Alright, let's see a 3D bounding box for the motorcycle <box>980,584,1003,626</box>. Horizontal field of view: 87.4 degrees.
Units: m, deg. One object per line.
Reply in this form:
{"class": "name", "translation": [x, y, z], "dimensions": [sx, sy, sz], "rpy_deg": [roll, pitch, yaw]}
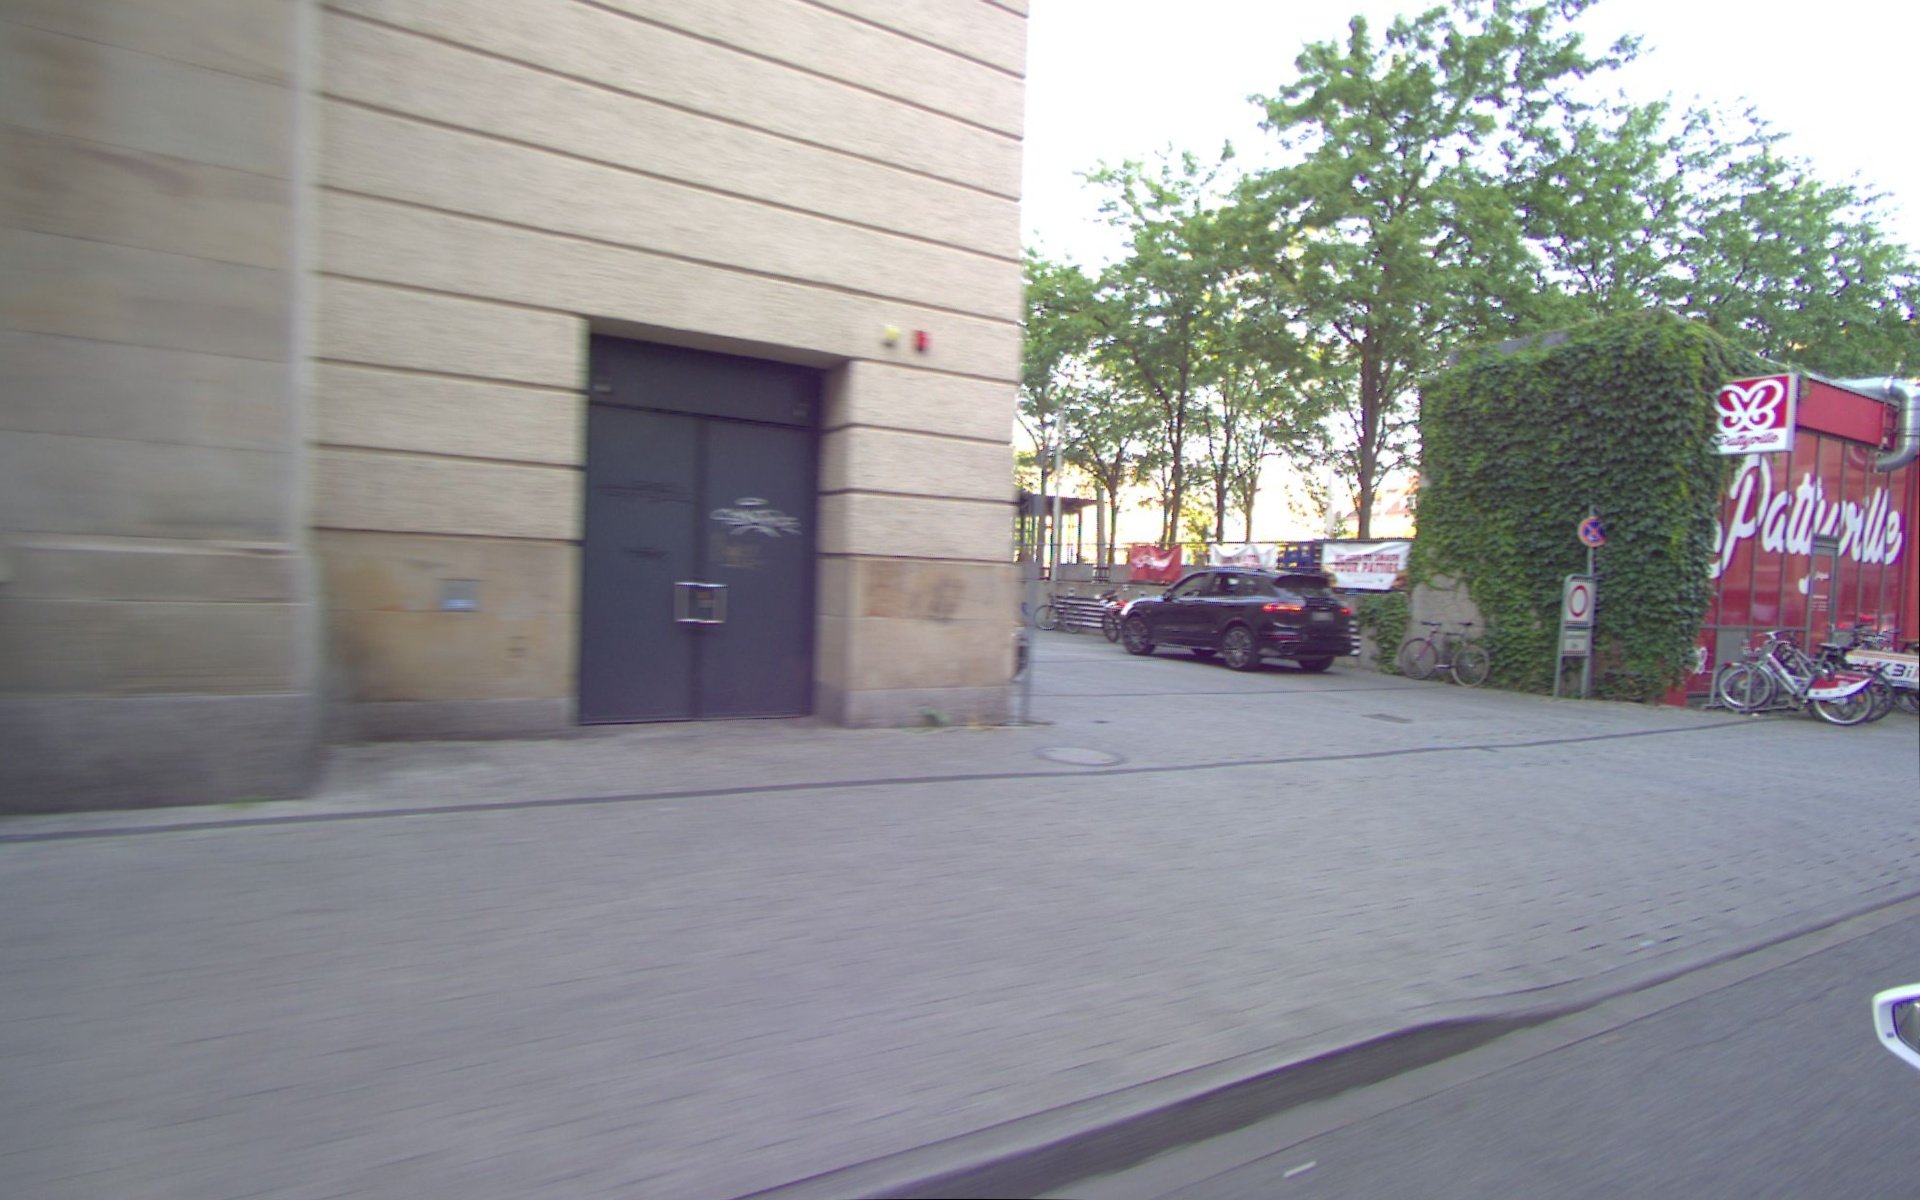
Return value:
{"class": "motorcycle", "translation": [0.863, 0.122, 27.827], "dimensions": [0.481, 1.087, 2.032], "rpy_deg": [1, 1, -2]}

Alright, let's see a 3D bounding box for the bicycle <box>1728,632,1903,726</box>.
{"class": "bicycle", "translation": [12.051, 1.077, 14.216], "dimensions": [0.494, 1.122, 1.785], "rpy_deg": [1, 2, -30]}

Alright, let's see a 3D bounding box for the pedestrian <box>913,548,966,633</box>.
{"class": "pedestrian", "translation": [-0.453, -0.204, 21.909], "dimensions": [0.861, 1.825, 0.782], "rpy_deg": [1, 1, -27]}

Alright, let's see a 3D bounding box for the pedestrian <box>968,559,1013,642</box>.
{"class": "pedestrian", "translation": [0.683, 0.004, 22.492], "dimensions": [0.760, 1.825, 0.623], "rpy_deg": [1, 1, -27]}

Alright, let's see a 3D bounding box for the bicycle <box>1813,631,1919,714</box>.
{"class": "bicycle", "translation": [14.100, 1.090, 15.147], "dimensions": [0.493, 1.122, 1.788], "rpy_deg": [1, 2, -26]}

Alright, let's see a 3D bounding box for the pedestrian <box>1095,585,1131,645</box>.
{"class": "pedestrian", "translation": [3.422, 0.337, 22.516], "dimensions": [0.486, 1.321, 0.645], "rpy_deg": [1, 1, -27]}

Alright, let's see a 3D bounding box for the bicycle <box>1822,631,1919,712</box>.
{"class": "bicycle", "translation": [14.480, 1.103, 15.424], "dimensions": [0.493, 1.122, 1.788], "rpy_deg": [1, 2, -26]}

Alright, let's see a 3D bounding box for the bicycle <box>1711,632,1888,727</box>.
{"class": "bicycle", "translation": [11.596, 1.061, 13.944], "dimensions": [0.494, 1.122, 1.785], "rpy_deg": [1, 2, -30]}

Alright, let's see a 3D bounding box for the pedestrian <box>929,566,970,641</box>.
{"class": "pedestrian", "translation": [-0.248, 0.084, 23.048], "dimensions": [0.709, 1.679, 0.634], "rpy_deg": [1, 1, -27]}

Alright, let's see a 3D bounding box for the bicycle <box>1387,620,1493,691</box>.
{"class": "bicycle", "translation": [7.924, 0.894, 16.645], "dimensions": [0.366, 1.027, 1.653], "rpy_deg": [1, 2, -28]}

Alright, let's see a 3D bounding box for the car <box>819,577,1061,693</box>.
{"class": "car", "translation": [-0.444, 0.407, 14.353], "dimensions": [1.730, 1.389, 3.985], "rpy_deg": [1, 1, -30]}

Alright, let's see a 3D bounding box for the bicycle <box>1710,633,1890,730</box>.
{"class": "bicycle", "translation": [11.364, 1.065, 13.659], "dimensions": [0.494, 1.122, 1.786], "rpy_deg": [1, 2, -29]}

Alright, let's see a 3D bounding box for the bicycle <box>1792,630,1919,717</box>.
{"class": "bicycle", "translation": [13.537, 1.071, 14.878], "dimensions": [0.493, 1.122, 1.788], "rpy_deg": [1, 2, -26]}

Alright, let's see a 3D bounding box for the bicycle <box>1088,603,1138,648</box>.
{"class": "bicycle", "translation": [3.412, 0.560, 22.522], "dimensions": [0.488, 0.941, 1.193], "rpy_deg": [1, 1, -27]}

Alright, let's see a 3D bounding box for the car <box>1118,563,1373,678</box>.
{"class": "car", "translation": [4.929, 0.287, 17.975], "dimensions": [2.040, 1.783, 4.203], "rpy_deg": [1, 1, -27]}

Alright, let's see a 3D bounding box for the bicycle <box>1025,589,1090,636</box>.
{"class": "bicycle", "translation": [2.508, 0.305, 26.077], "dimensions": [0.496, 1.122, 1.778], "rpy_deg": [1, 2, -41]}
